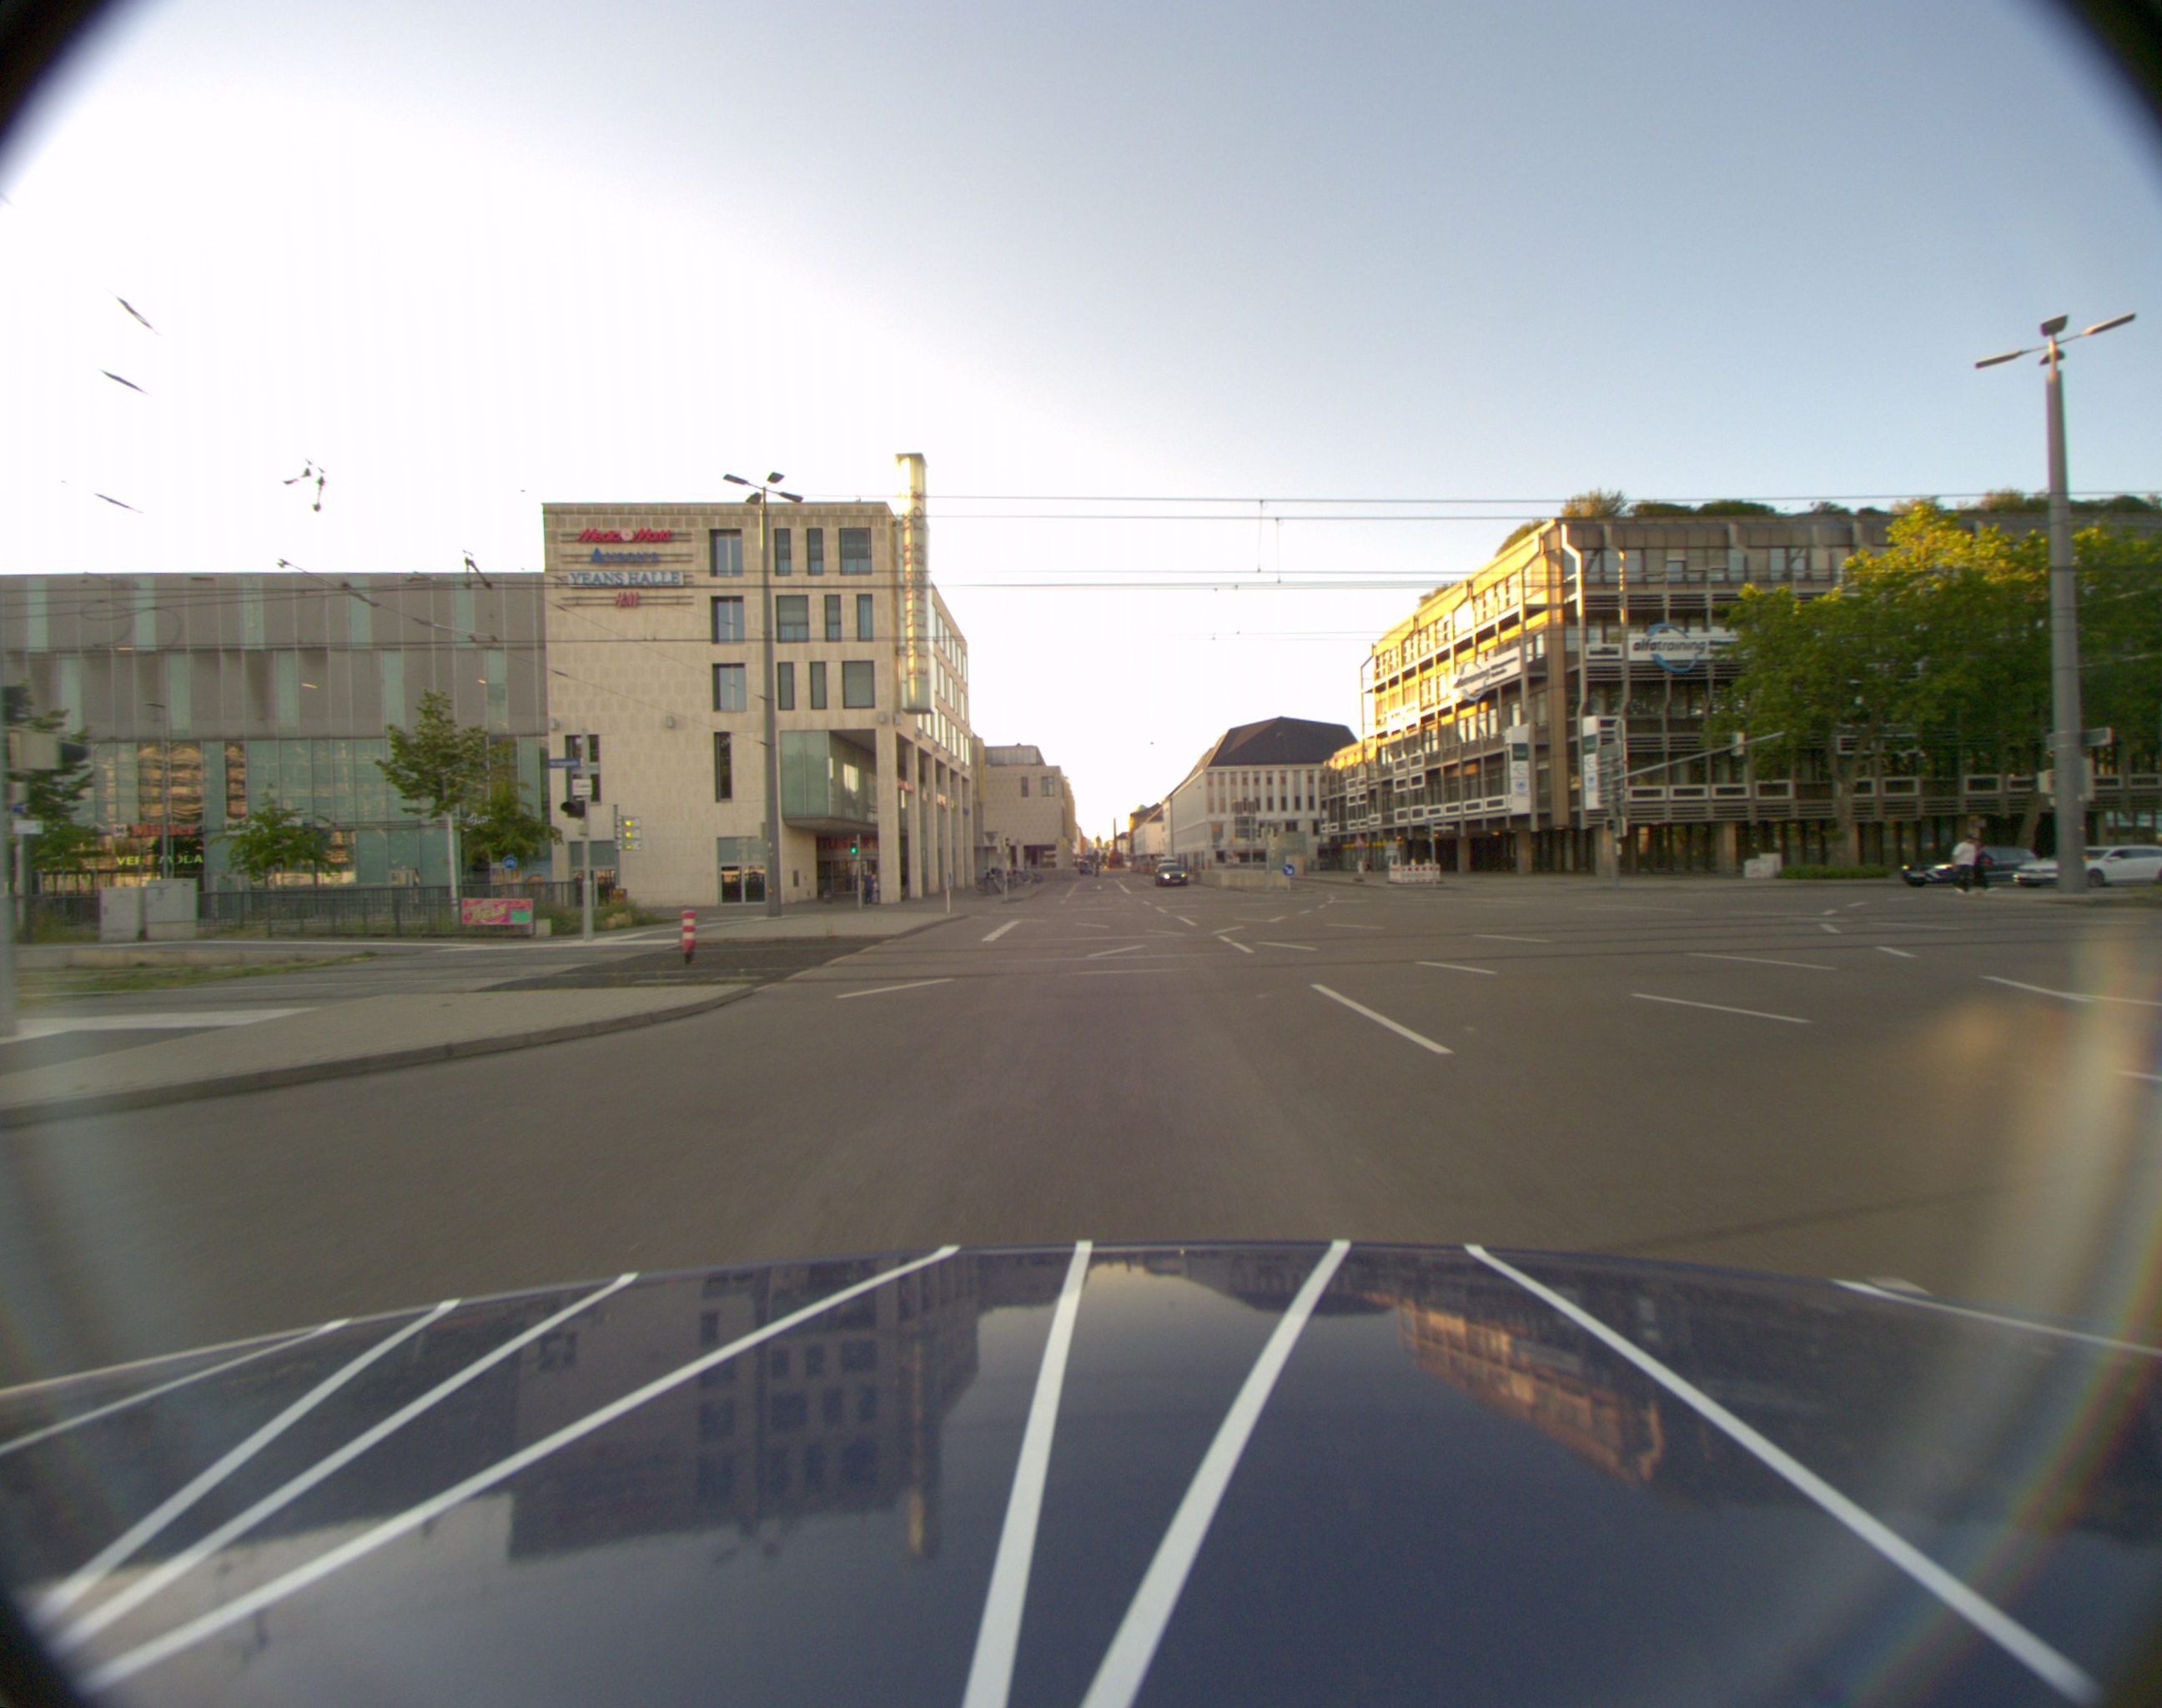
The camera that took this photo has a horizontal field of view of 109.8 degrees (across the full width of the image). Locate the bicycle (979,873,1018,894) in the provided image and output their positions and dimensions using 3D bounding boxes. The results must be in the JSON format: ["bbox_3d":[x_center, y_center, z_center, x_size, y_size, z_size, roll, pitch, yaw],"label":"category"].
[{"bbox_3d":[-5.589,2.016,51.509,2.507,1.316,0.619,-2,1,0],"label":"bicycle"}]

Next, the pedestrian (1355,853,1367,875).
[{"bbox_3d":[22.300,0.823,60.553,0.646,1.702,0.682,-2,0,3],"label":"pedestrian"}]

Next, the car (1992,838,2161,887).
[{"bbox_3d":[36.606,0.276,27.343,5.160,1.576,2.000,-2,0,0],"label":"car"}]

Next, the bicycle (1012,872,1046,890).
[{"bbox_3d":[-4.021,2.064,58.639,2.507,1.316,0.619,-2,1,0],"label":"bicycle"}]

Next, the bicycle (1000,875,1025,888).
[{"bbox_3d":[-5.760,2.299,64.205,2.024,1.035,0.509,-2,0,-1],"label":"bicycle"}]

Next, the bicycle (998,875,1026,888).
[{"bbox_3d":[-5.785,2.297,63.737,2.211,1.035,0.509,-2,0,-1],"label":"bicycle"}]

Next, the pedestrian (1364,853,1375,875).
[{"bbox_3d":[22.980,0.801,60.568,0.651,1.702,0.650,-2,0,3],"label":"pedestrian"}]

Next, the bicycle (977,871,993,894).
[{"bbox_3d":[-5.883,1.725,46.698,0.619,1.316,2.509,-2,0,-1],"label":"bicycle"}]

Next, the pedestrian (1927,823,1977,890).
[{"bbox_3d":[25.423,0.077,22.195,0.644,1.920,0.681,-2,0,-2],"label":"pedestrian"}]

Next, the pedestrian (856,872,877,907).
[{"bbox_3d":[-10.603,1.739,37.569,0.764,1.696,0.834,-2,0,-1],"label":"pedestrian"}]

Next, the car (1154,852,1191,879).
[{"bbox_3d":[5.992,0.751,50.388,2.071,1.641,4.000,-2,0,2],"label":"car"}]

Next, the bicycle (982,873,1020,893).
[{"bbox_3d":[-5.582,2.024,52.899,2.507,1.316,0.619,-2,1,0],"label":"bicycle"}]

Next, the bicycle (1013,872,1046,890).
[{"bbox_3d":[-4.041,2.140,59.664,2.507,1.316,0.619,-2,1,0],"label":"bicycle"}]

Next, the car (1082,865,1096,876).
[{"bbox_3d":[1.232,2.528,118.377,2.071,1.641,4.001,-2,0,2],"label":"car"}]

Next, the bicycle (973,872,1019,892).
[{"bbox_3d":[-5.456,1.805,48.874,2.804,1.209,0.765,-2,1,10],"label":"bicycle"}]

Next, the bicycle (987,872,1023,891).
[{"bbox_3d":[-5.583,2.034,55.675,2.507,1.316,0.619,-2,1,0],"label":"bicycle"}]

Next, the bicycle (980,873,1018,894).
[{"bbox_3d":[-5.614,2.022,52.203,2.507,1.316,0.619,-2,1,0],"label":"bicycle"}]

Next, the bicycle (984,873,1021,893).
[{"bbox_3d":[-5.567,2.026,53.954,2.507,1.316,0.619,-2,1,0],"label":"bicycle"}]

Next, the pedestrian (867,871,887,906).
[{"bbox_3d":[-10.370,1.739,38.654,0.764,1.696,0.834,-2,0,-2],"label":"pedestrian"}]

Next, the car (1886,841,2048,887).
[{"bbox_3d":[35.628,0.400,30.625,4.398,1.641,1.858,-2,0,-1],"label":"car"}]
